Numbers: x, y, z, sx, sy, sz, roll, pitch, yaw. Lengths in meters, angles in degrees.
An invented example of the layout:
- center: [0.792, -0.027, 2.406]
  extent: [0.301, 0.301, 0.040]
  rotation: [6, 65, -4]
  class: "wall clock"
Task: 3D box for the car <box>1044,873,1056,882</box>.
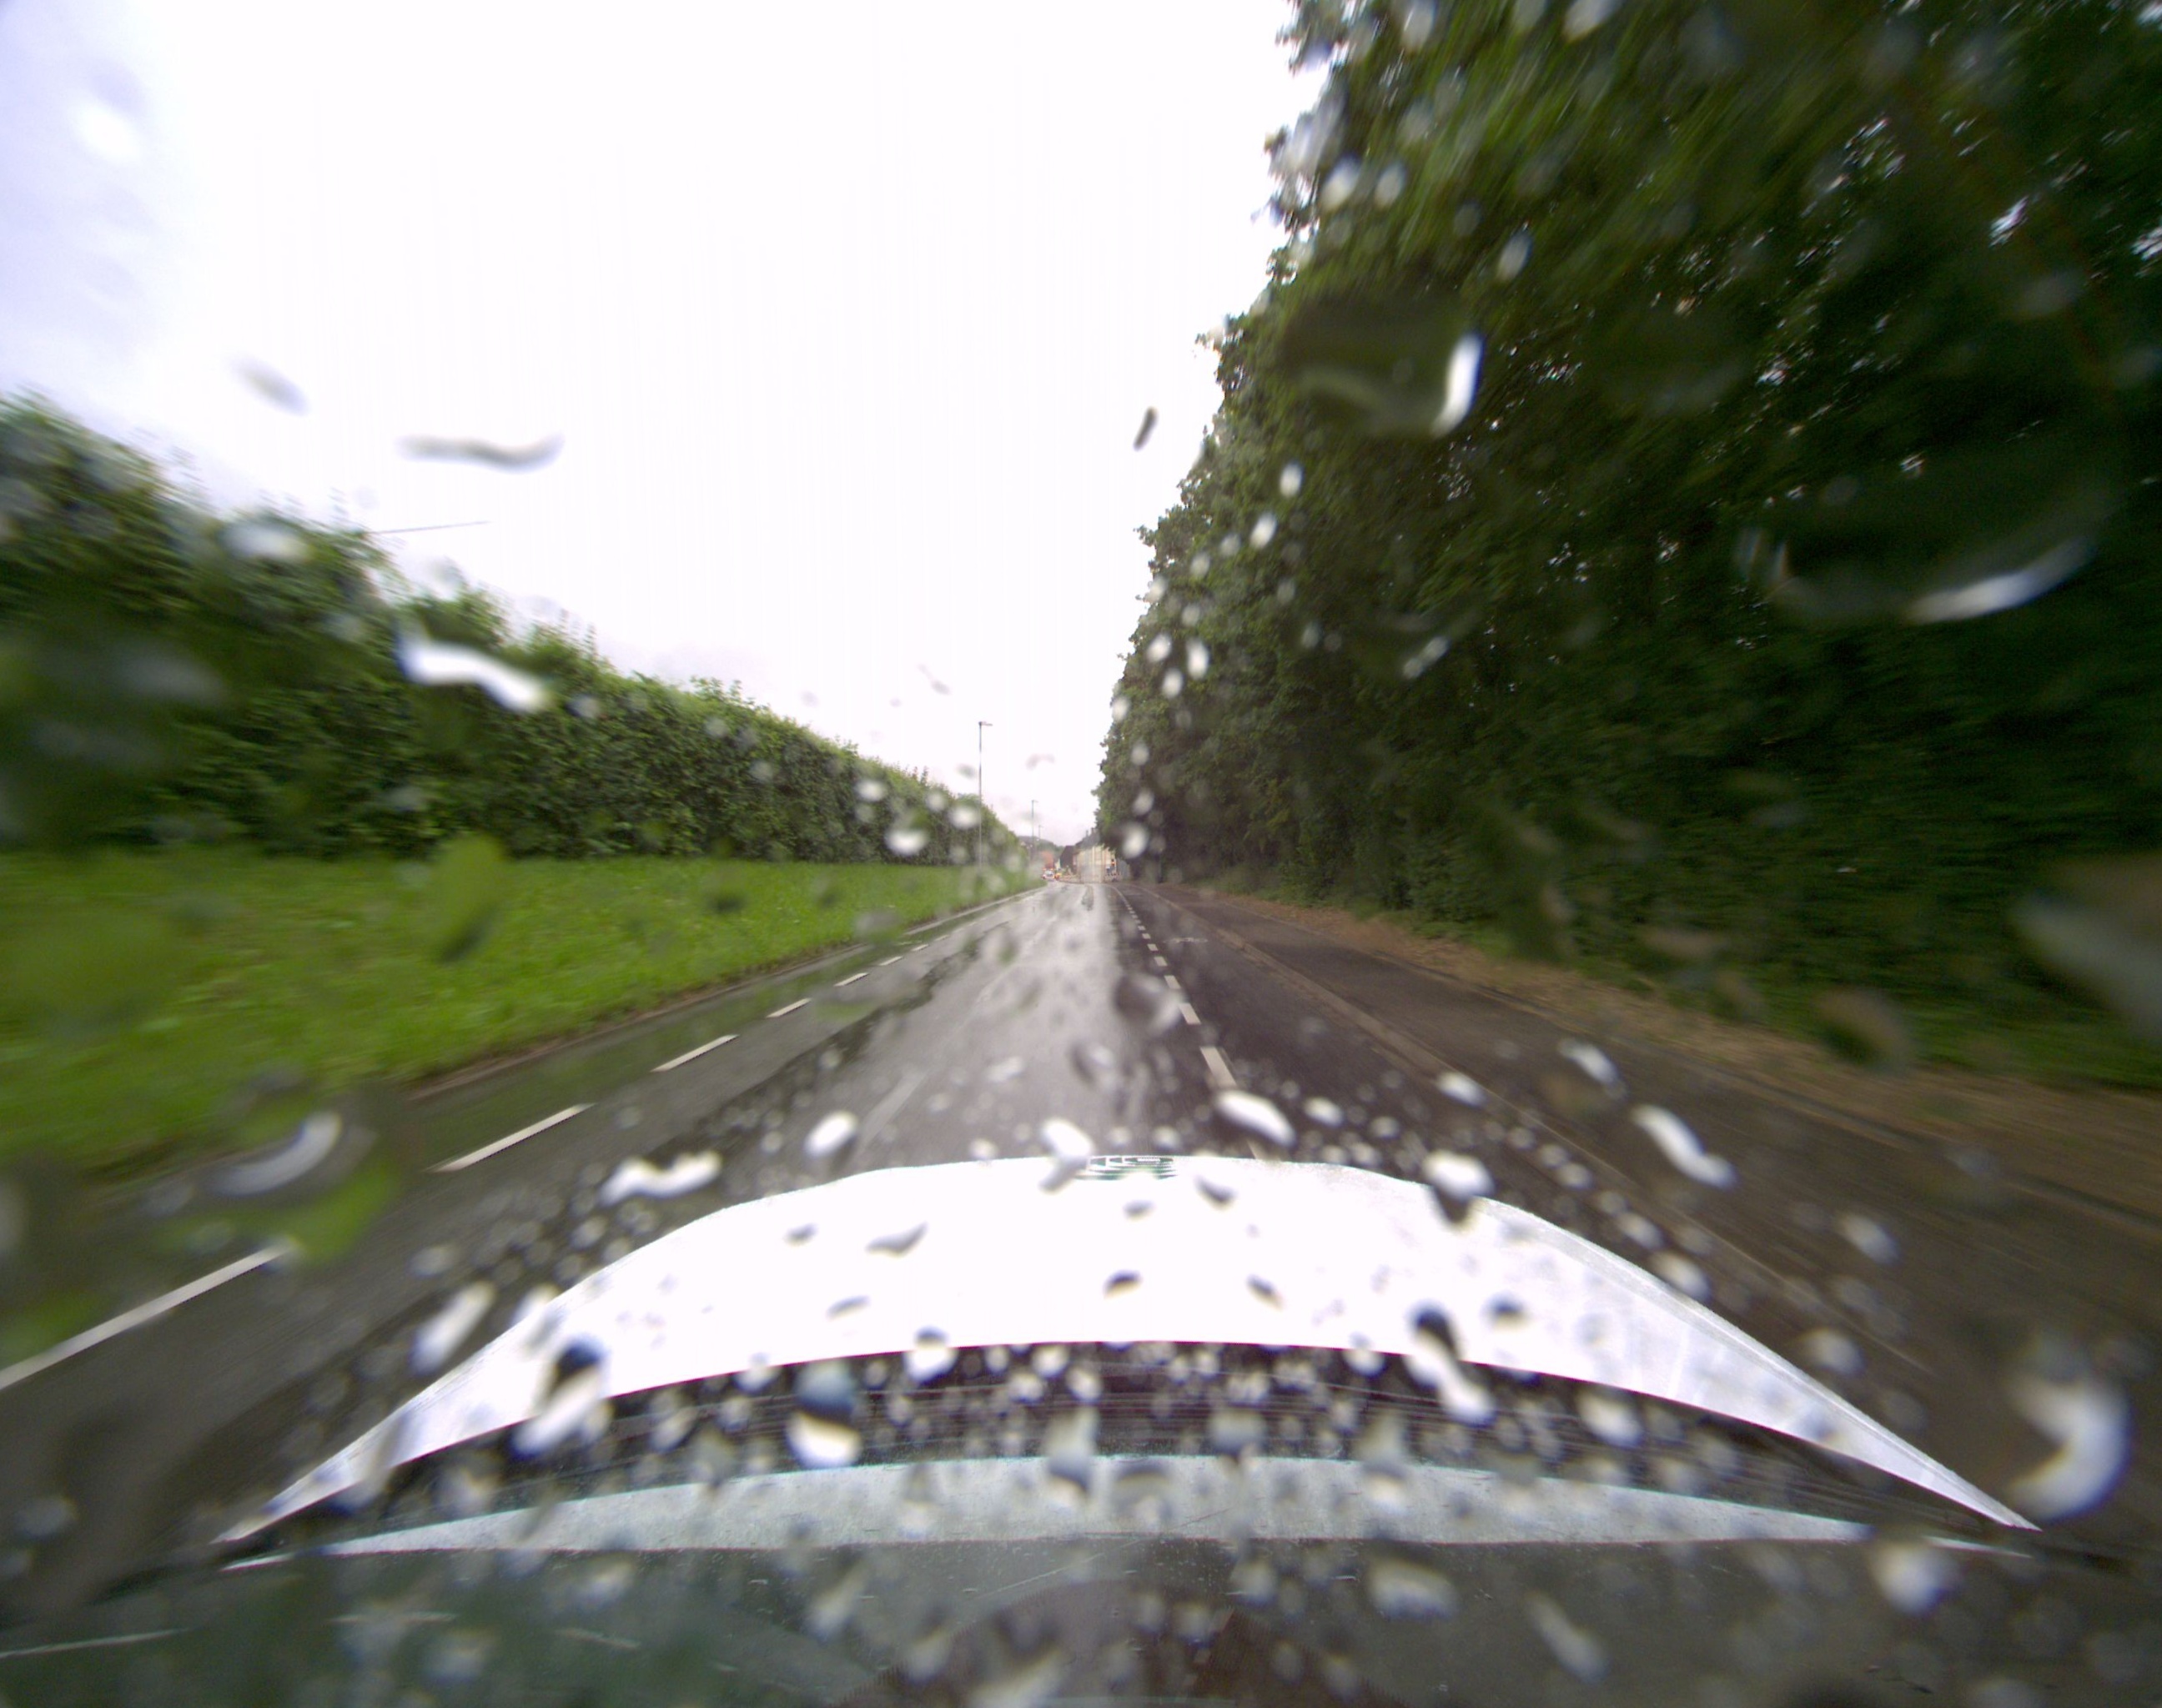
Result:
- center: [-6.145, 4.634, 162.352]
  extent: [1.992, 1.611, 3.989]
  rotation: [2, 0, -8]
  class: "car"
